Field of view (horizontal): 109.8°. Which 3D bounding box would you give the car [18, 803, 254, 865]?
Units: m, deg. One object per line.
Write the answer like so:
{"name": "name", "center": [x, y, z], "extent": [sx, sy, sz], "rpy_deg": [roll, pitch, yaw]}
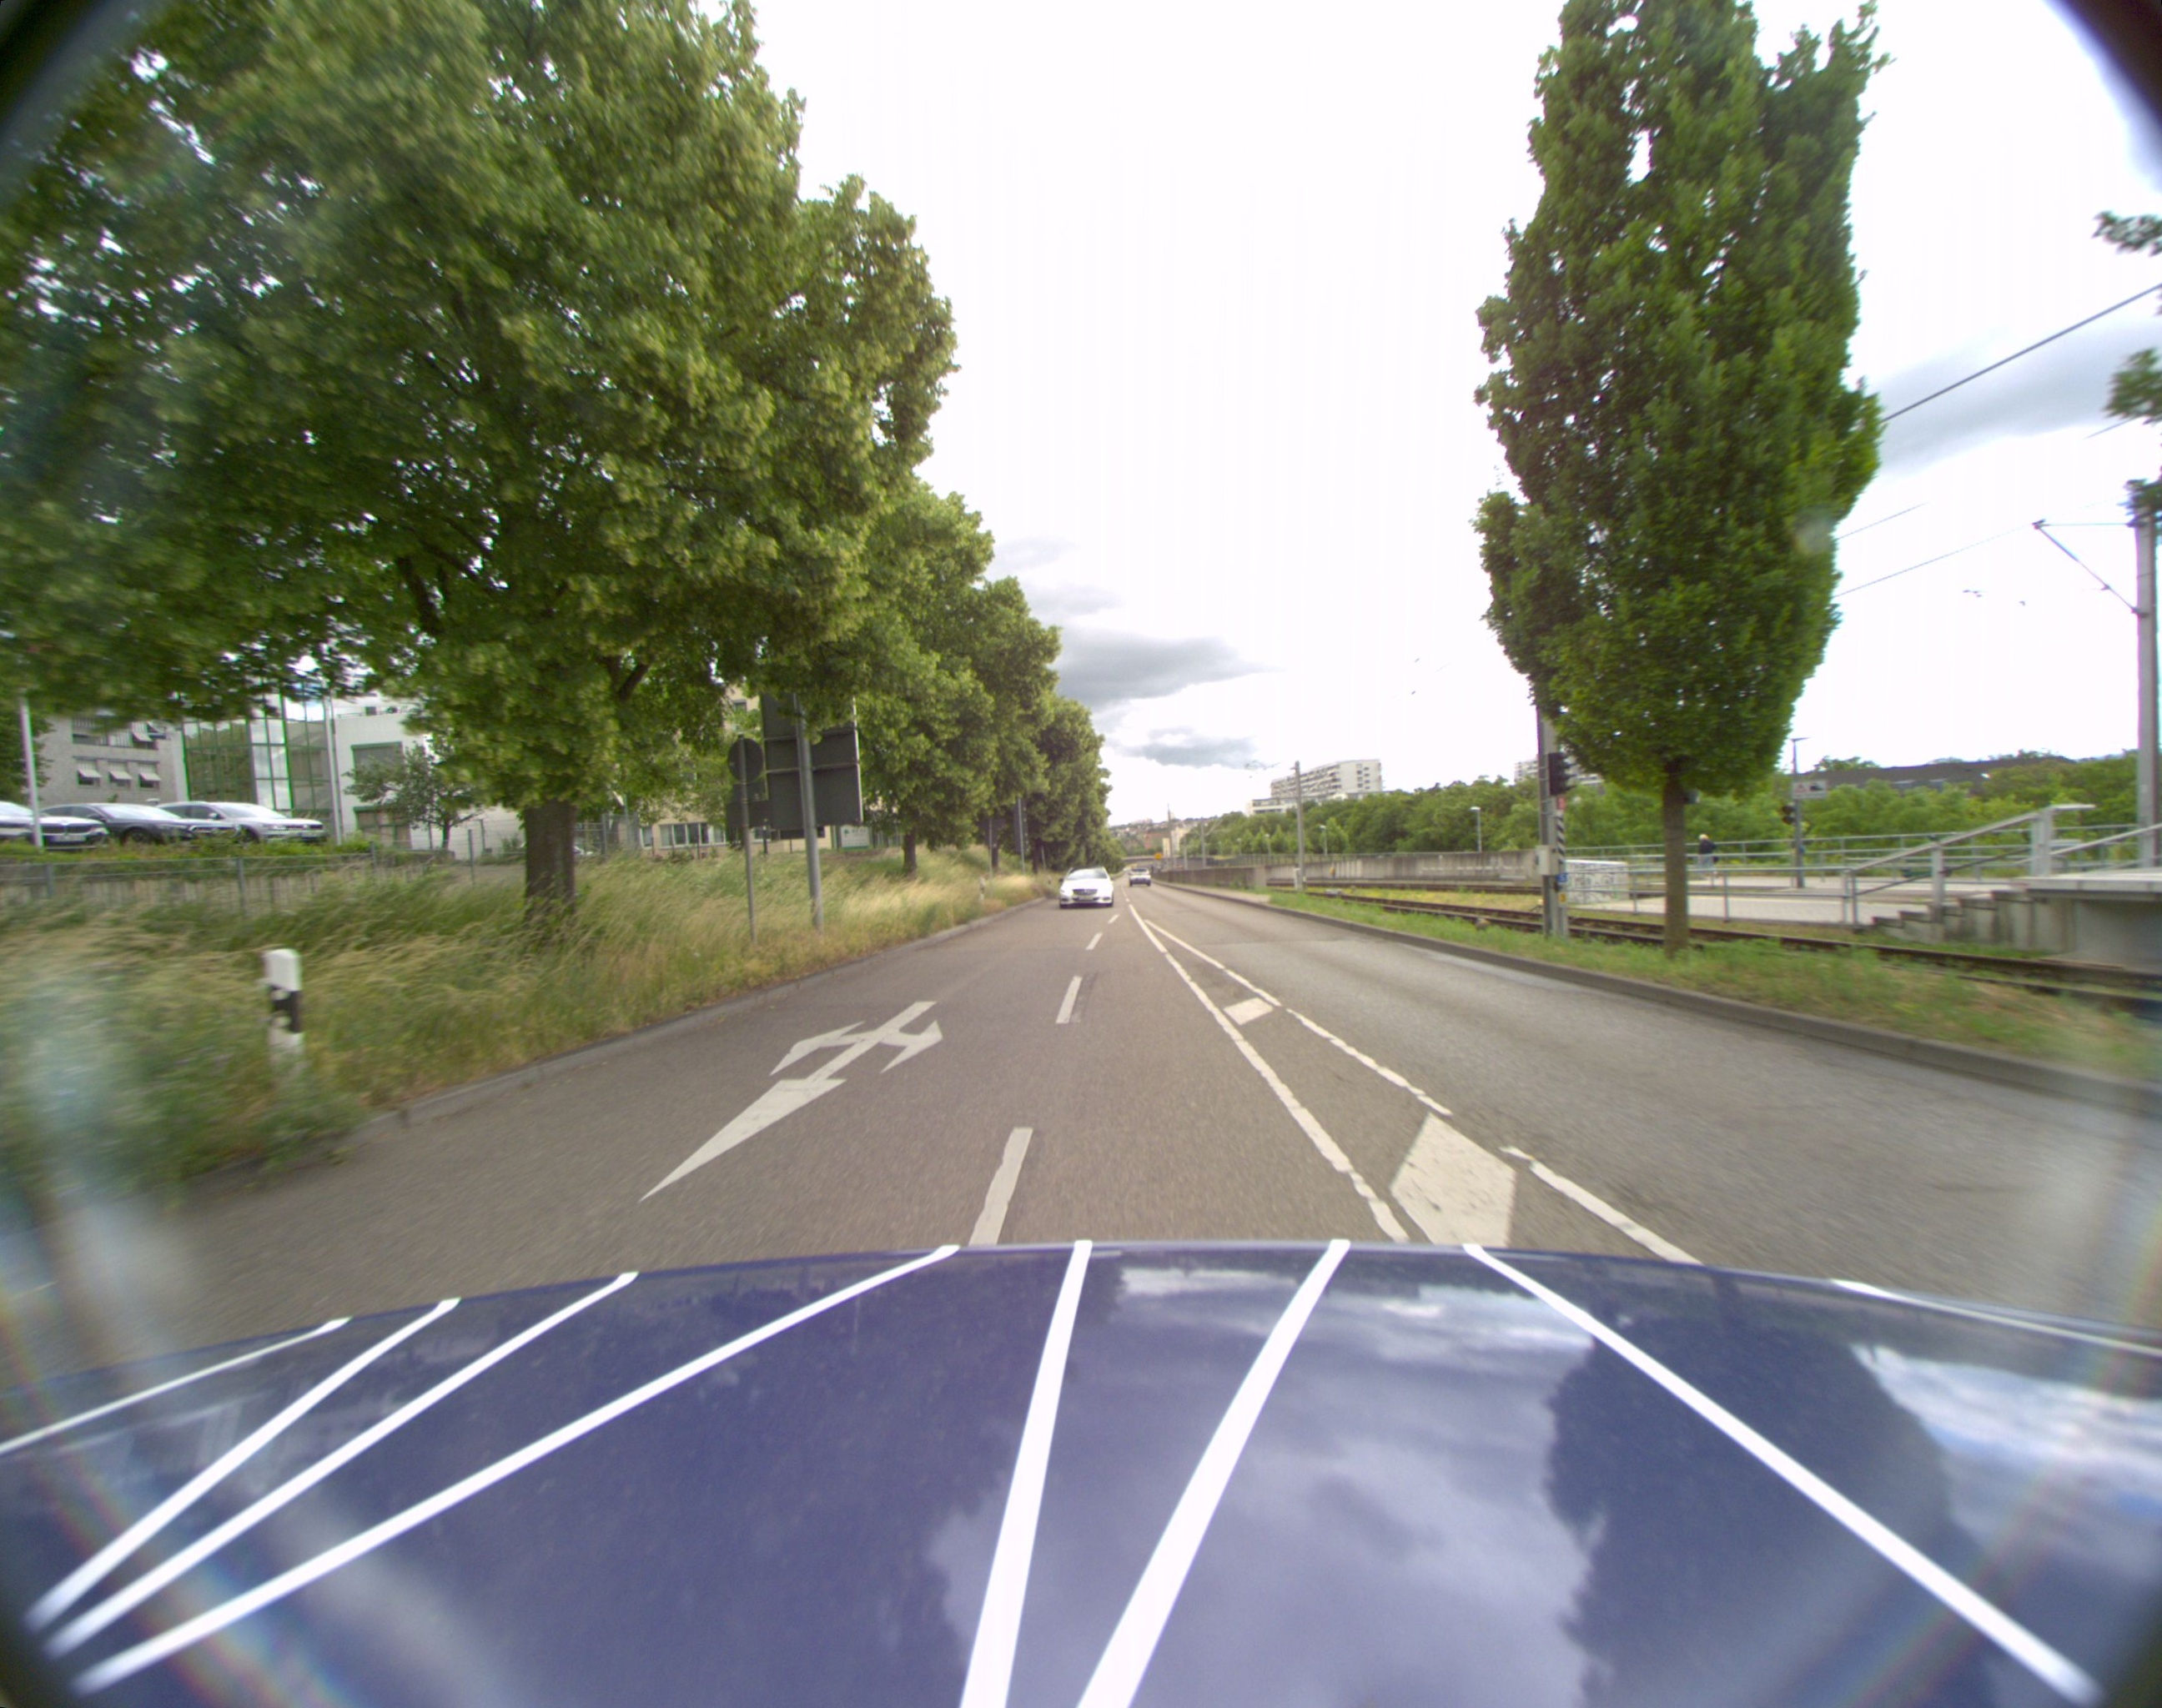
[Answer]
{"name": "car", "center": [-23.118, -0.460, 18.673], "extent": [3.934, 1.360, 1.756], "rpy_deg": [-1, 0, 6]}

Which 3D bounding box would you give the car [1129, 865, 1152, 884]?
{"name": "car", "center": [5.016, 1.732, 64.632], "extent": [1.720, 1.512, 3.745], "rpy_deg": [-2, -1, 2]}

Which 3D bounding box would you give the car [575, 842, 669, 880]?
{"name": "car", "center": [-20.838, 0.315, 34.534], "extent": [3.365, 1.501, 1.578], "rpy_deg": [-3, -1, 9]}

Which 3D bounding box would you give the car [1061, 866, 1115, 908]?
{"name": "car", "center": [0.325, 1.185, 28.491], "extent": [1.739, 1.365, 4.002], "rpy_deg": [-2, -1, 4]}

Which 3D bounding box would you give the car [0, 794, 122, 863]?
{"name": "car", "center": [-23.382, -0.484, 16.264], "extent": [3.762, 1.356, 1.756], "rpy_deg": [-1, 0, 6]}

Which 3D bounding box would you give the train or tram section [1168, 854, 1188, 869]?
{"name": "train or tram section", "center": [22.306, 1.812, 175.377], "extent": [2.787, 3.174, 18.480], "rpy_deg": [-2, -1, 2]}

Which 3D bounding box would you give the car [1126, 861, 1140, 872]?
{"name": "car", "center": [7.872, 1.918, 115.348], "extent": [1.827, 1.647, 4.247], "rpy_deg": [-2, -1, 2]}

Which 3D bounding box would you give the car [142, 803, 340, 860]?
{"name": "car", "center": [-23.738, -0.604, 21.547], "extent": [3.934, 1.474, 1.756], "rpy_deg": [-1, 0, 6]}

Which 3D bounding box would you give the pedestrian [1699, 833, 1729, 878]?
{"name": "pedestrian", "center": [23.198, 0.051, 27.864], "extent": [0.508, 1.615, 0.646], "rpy_deg": [-2, 0, 2]}
